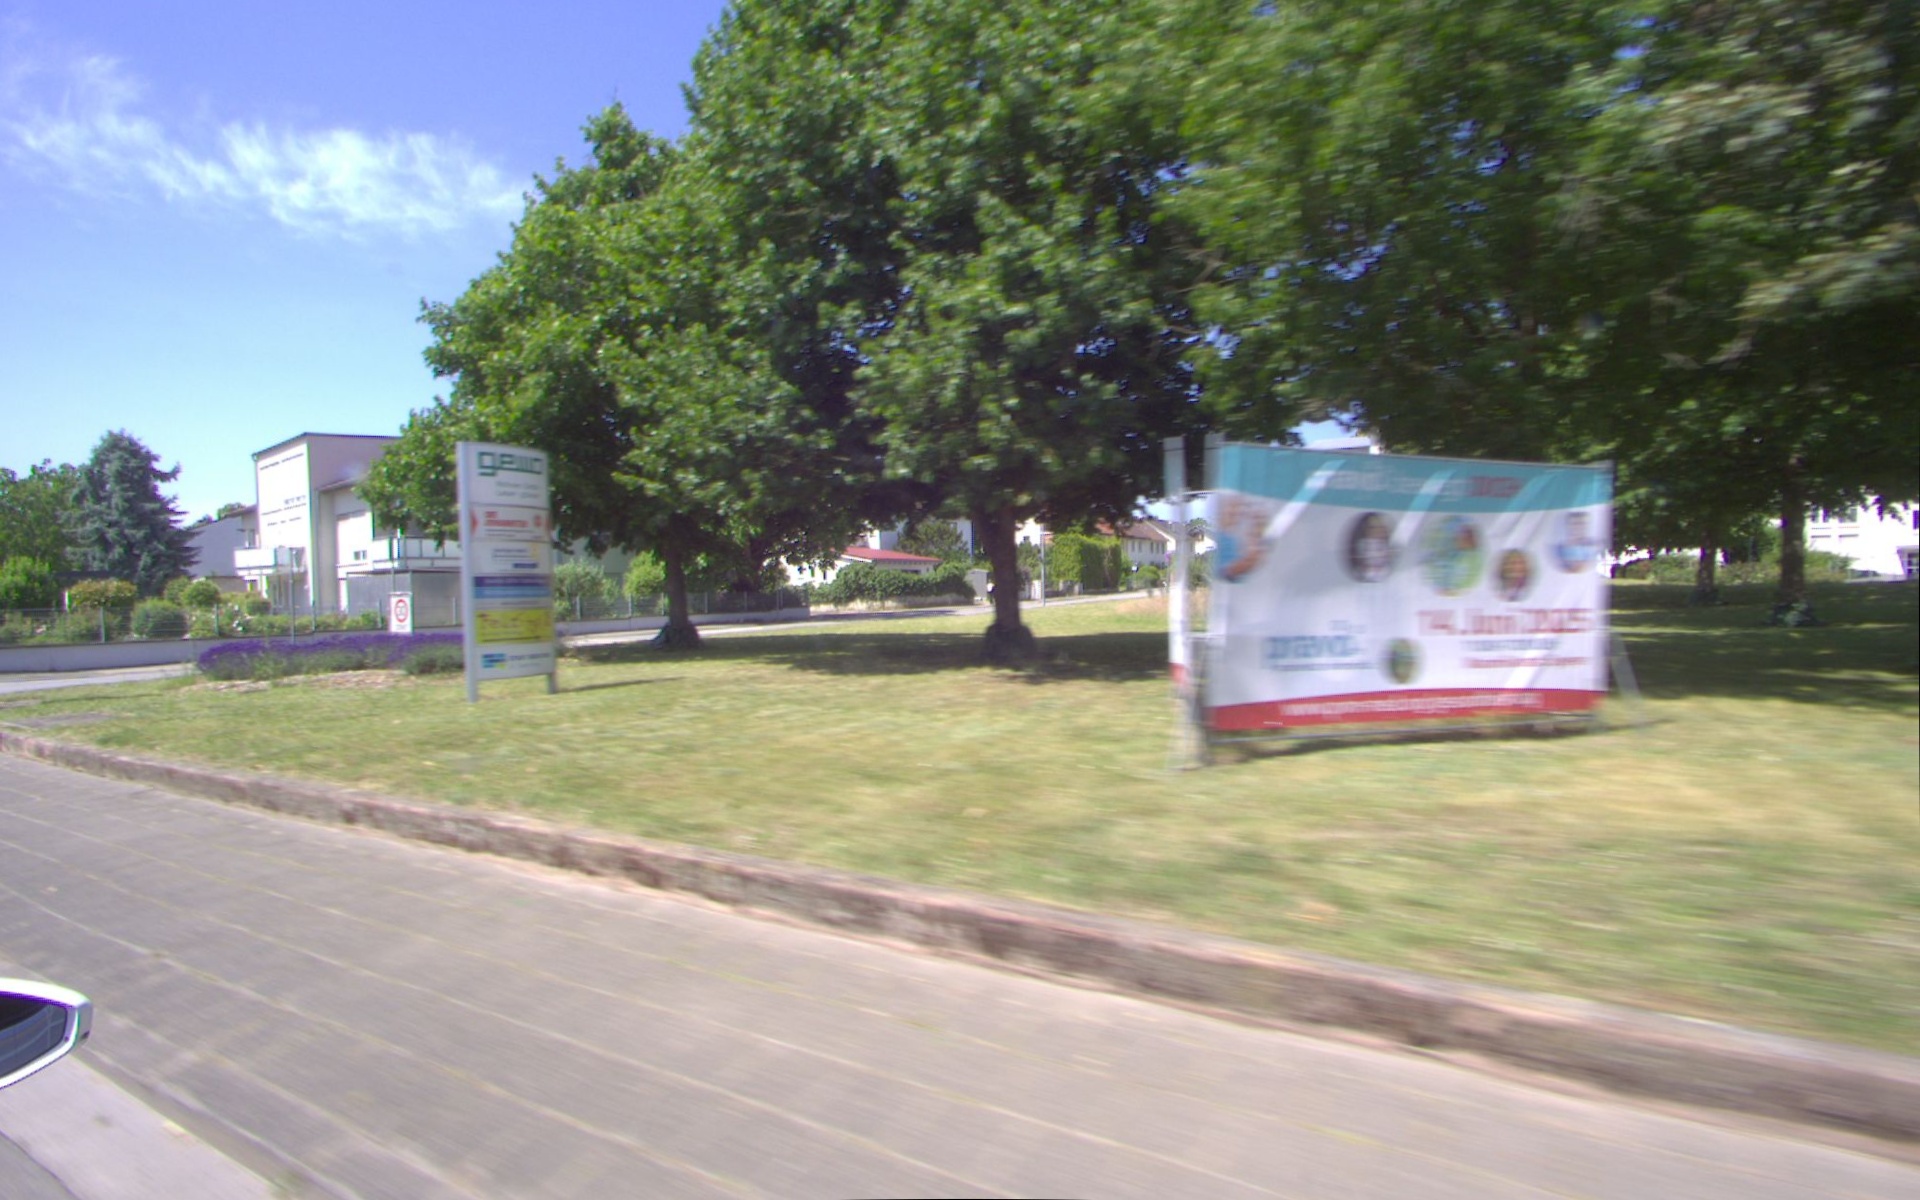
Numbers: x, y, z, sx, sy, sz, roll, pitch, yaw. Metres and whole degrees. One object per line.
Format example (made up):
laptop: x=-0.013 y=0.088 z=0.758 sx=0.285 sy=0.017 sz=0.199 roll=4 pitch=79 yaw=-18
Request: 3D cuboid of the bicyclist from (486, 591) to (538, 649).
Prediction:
bicyclist: x=-12.332 y=0.543 z=27.583 sx=0.841 sy=1.551 sz=0.926 roll=-1 pitch=2 yaw=20

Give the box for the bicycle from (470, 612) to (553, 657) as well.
bicycle: x=-12.327 y=0.928 z=27.583 sx=0.802 sy=1.118 sz=2.141 roll=-1 pitch=1 yaw=19

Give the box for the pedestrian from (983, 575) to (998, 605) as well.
pedestrian: x=1.974 y=-0.656 z=64.672 sx=0.772 sy=1.876 sz=0.630 roll=-1 pitch=-1 yaw=25
